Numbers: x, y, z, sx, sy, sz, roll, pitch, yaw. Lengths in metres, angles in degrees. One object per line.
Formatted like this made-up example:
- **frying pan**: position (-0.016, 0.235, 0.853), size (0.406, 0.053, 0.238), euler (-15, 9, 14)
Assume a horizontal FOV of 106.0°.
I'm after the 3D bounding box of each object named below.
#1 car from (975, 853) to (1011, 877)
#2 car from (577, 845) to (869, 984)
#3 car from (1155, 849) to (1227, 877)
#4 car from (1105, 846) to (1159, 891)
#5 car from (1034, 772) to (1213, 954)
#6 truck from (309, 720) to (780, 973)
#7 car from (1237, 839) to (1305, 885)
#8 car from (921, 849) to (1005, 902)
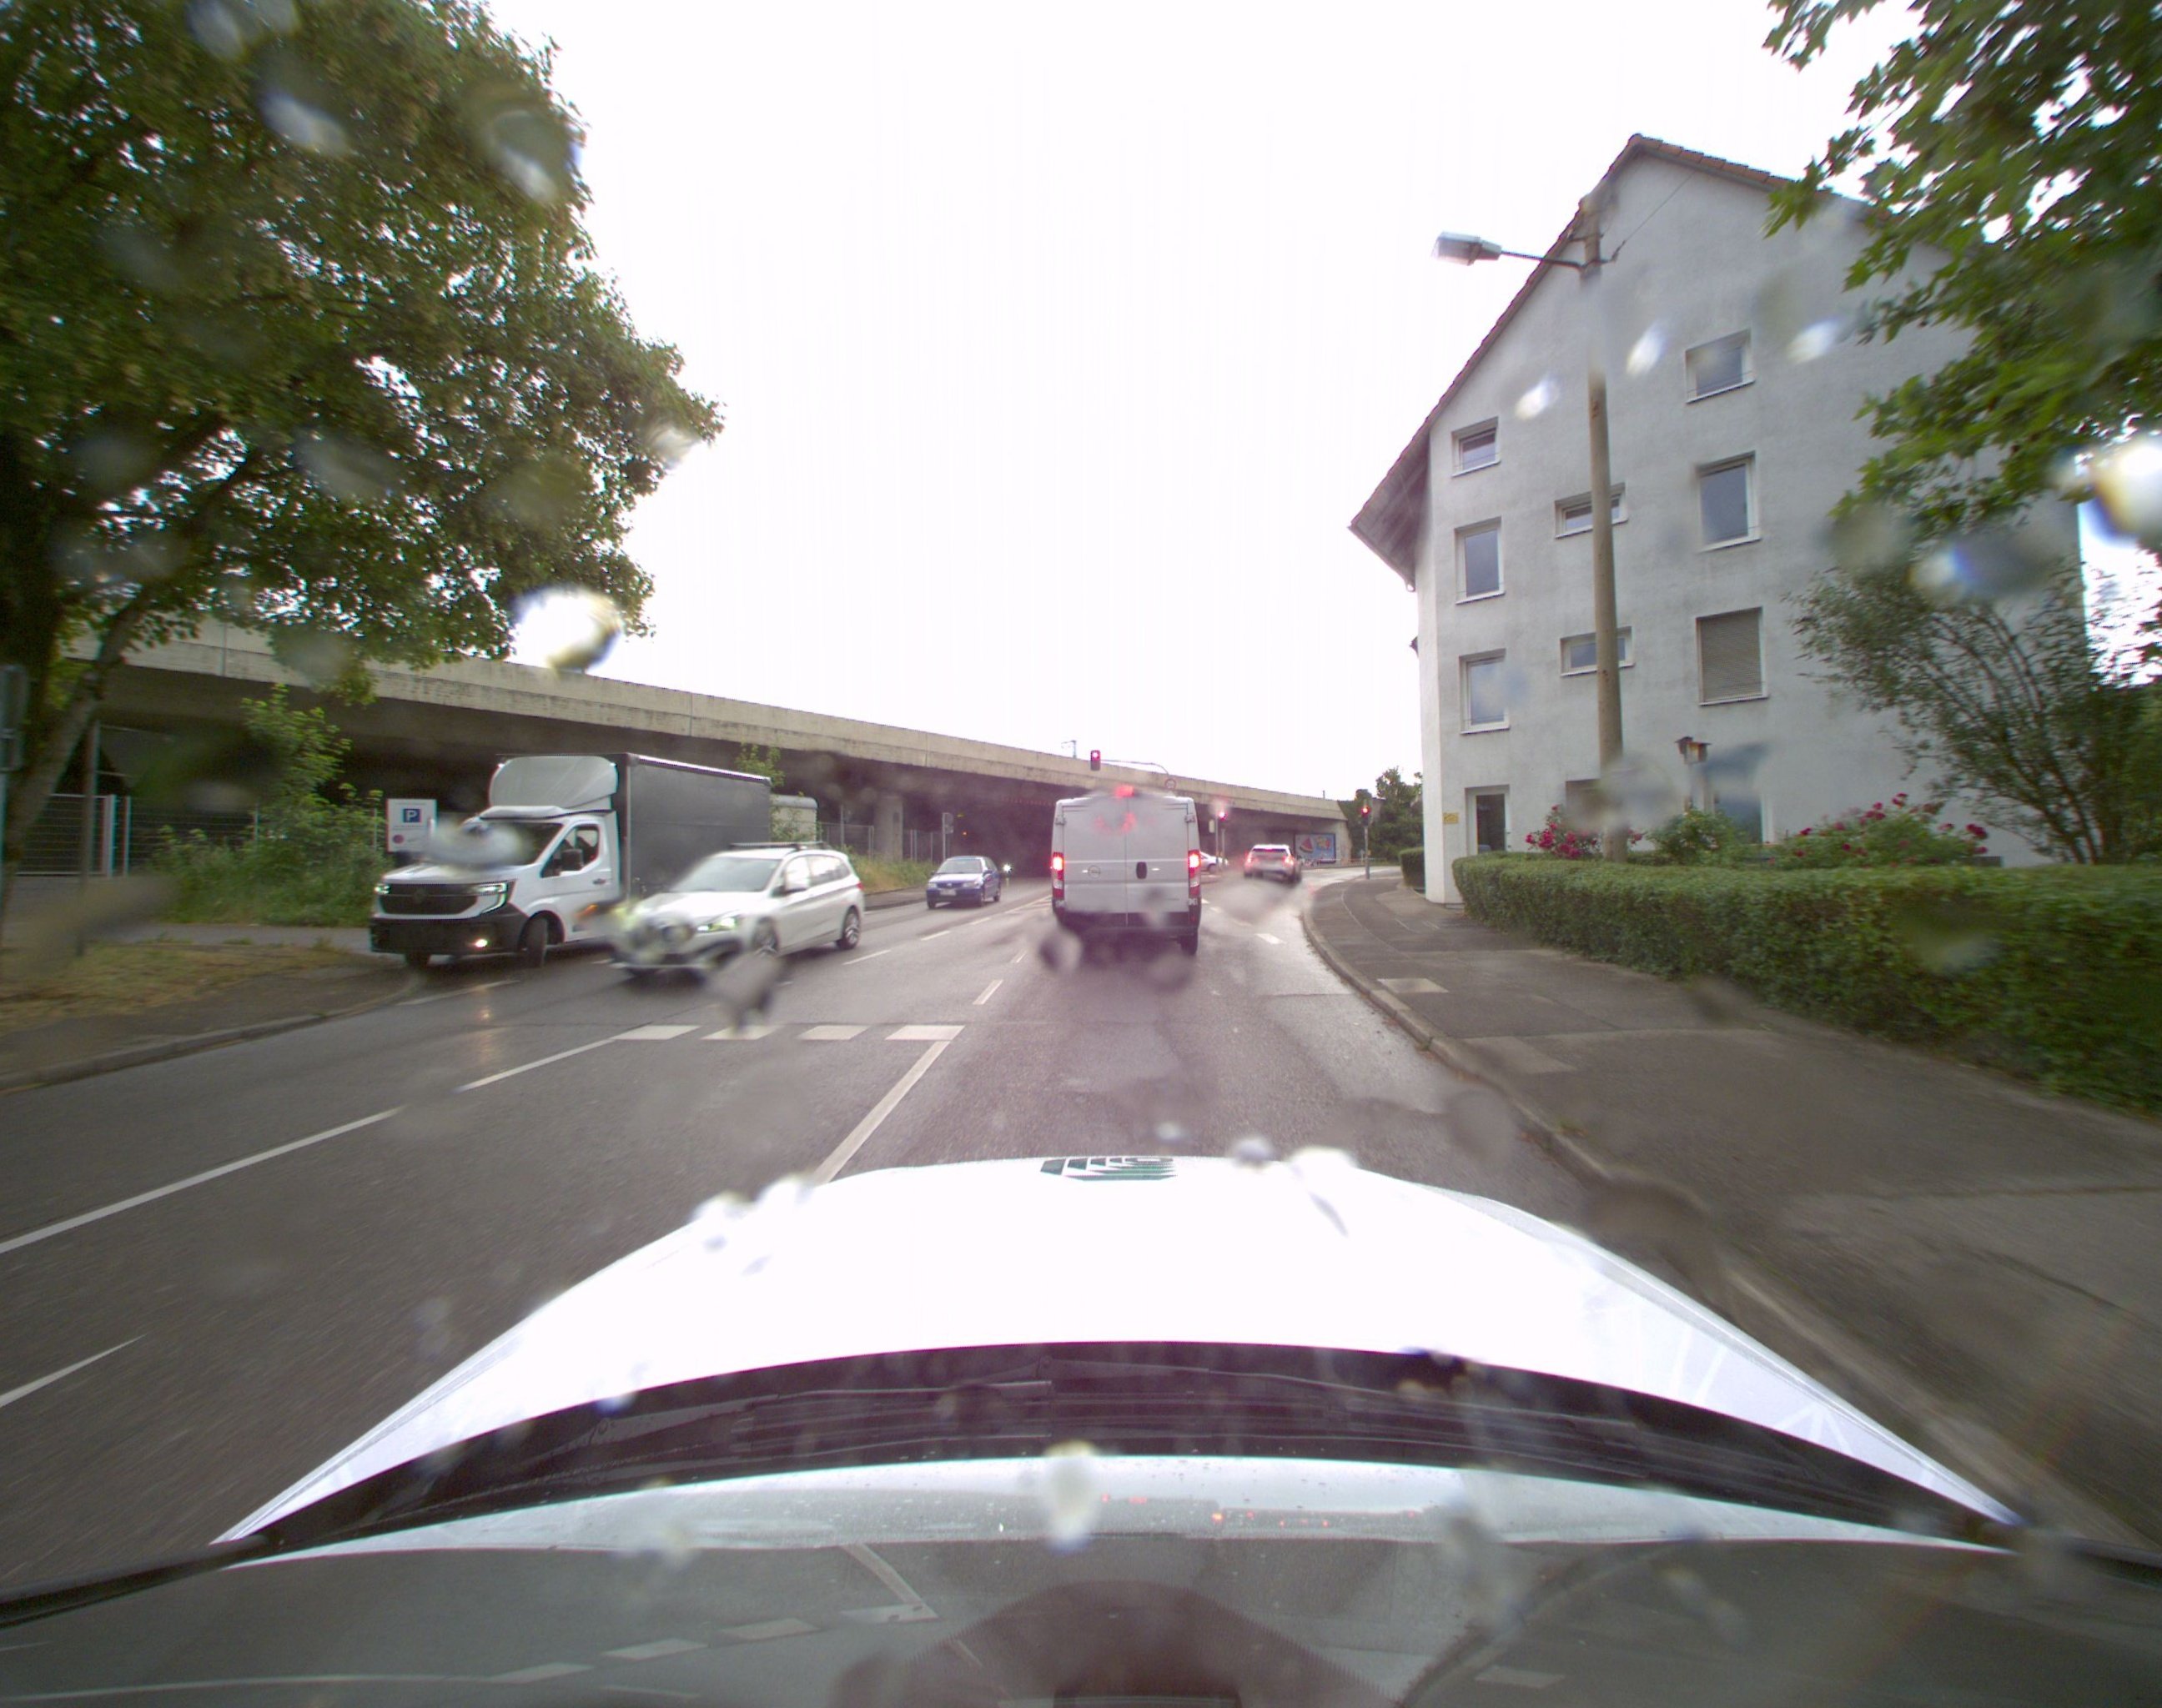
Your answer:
- **car**: position (-6.145, 0.711, 56.630), size (1.845, 1.569, 4.391), euler (-1, 0, -14)
- **car**: position (-4.742, 0.672, 11.637), size (1.821, 1.578, 4.343), euler (0, 1, 7)
- **car**: position (6.252, 0.511, 46.303), size (3.964, 1.554, 2.005), euler (-1, -1, 8)
- **car**: position (2.165, 0.595, 33.759), size (1.983, 1.729, 4.007), euler (-1, -1, 7)
- **car**: position (0.739, 0.124, 13.374), size (2.295, 2.343, 5.288), euler (-1, 0, 4)
- **truck**: position (-8.416, -0.068, 14.424), size (2.597, 3.237, 7.788), euler (-1, 0, 6)
- **car**: position (7.003, 0.302, 29.804), size (1.977, 1.549, 4.019), euler (-1, -1, 19)
- **car**: position (-3.407, 0.588, 24.156), size (1.589, 1.425, 3.703), euler (-1, 0, 6)
